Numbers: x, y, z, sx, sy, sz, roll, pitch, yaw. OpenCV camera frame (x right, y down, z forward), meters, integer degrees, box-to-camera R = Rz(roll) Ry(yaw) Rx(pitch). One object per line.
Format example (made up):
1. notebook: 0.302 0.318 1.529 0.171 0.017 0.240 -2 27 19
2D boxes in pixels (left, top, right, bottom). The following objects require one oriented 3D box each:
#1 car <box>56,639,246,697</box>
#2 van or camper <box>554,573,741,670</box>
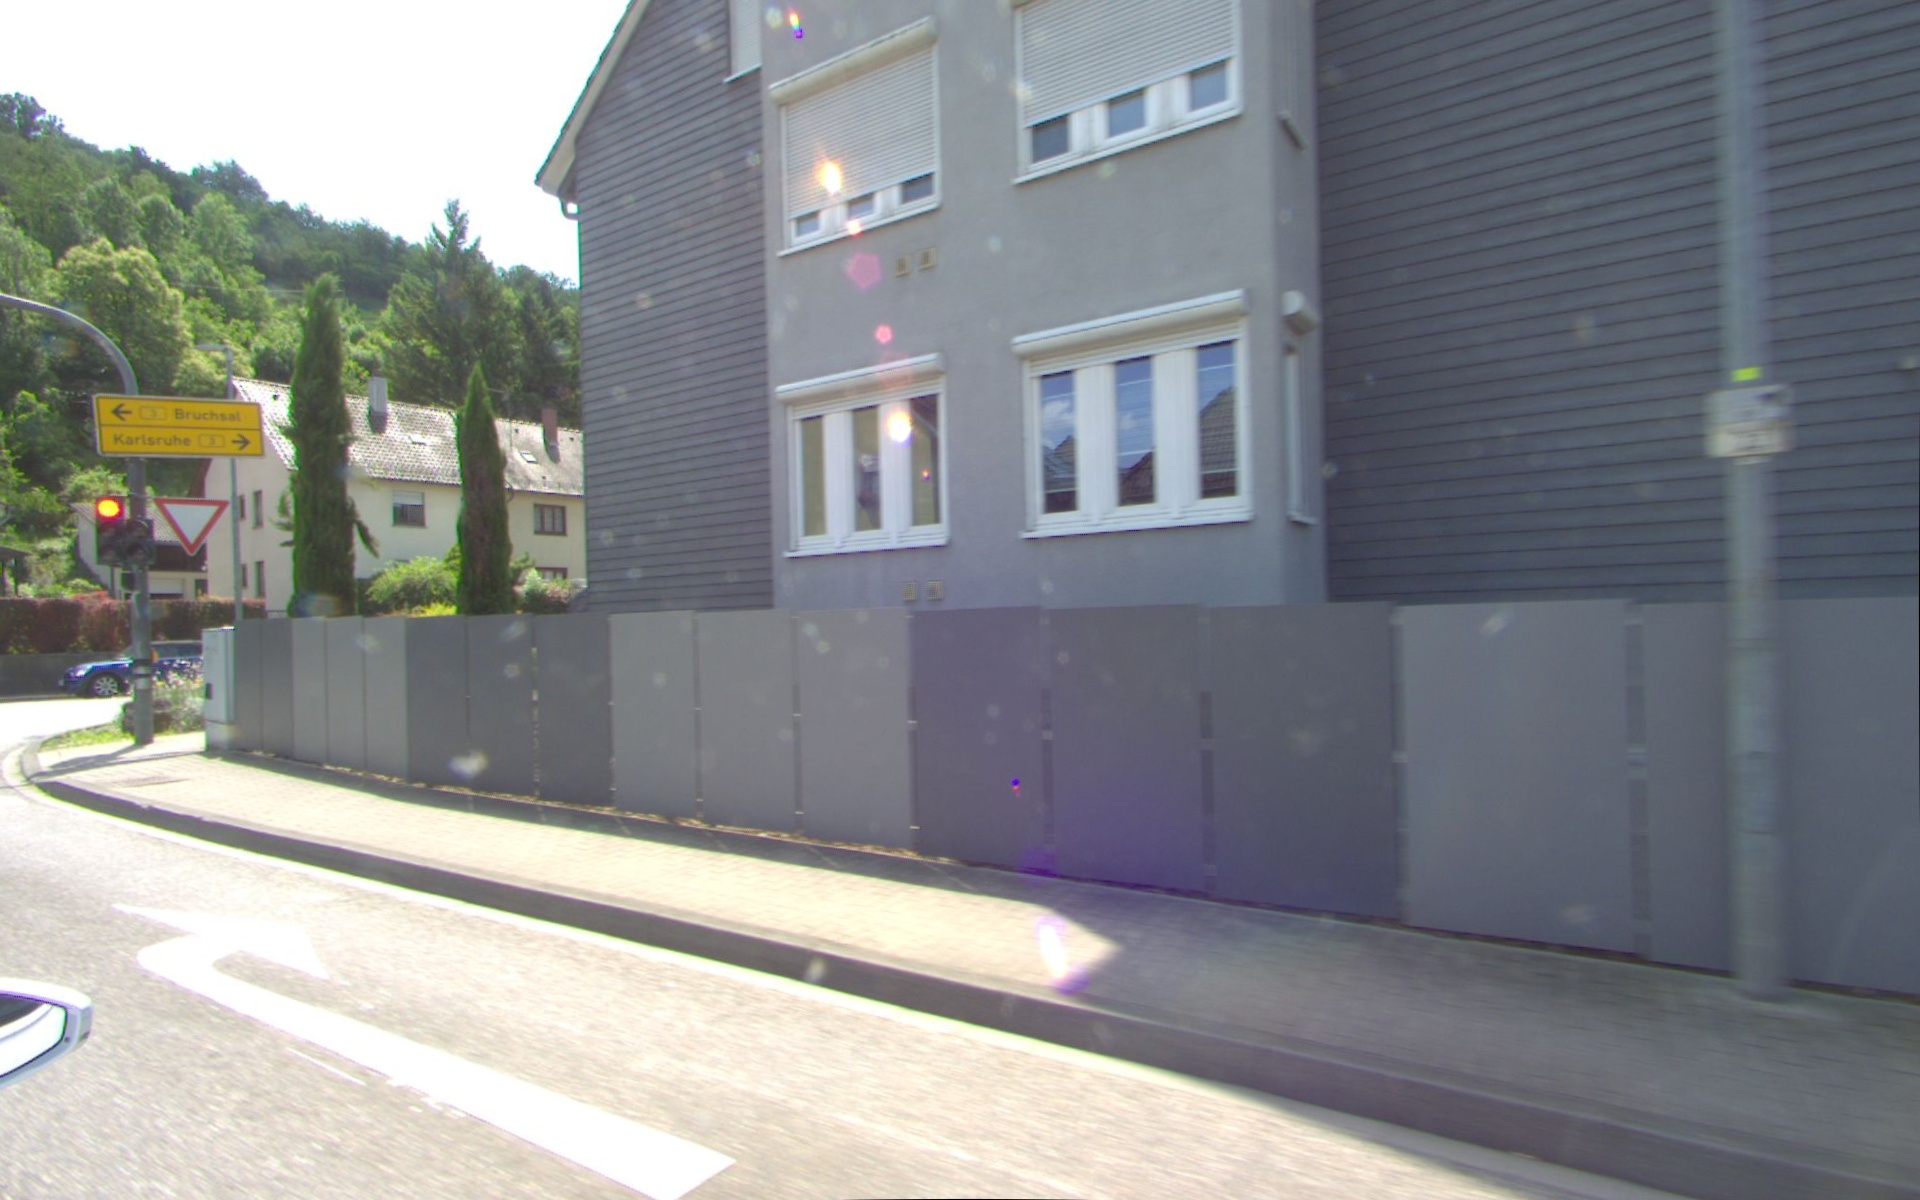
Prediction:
1. car: -21.173 1.753 26.309 1.624 1.379 3.598 -5 -4 36
2. van or camper: -10.684 0.754 34.683 2.192 3.043 5.968 -1 -2 39
